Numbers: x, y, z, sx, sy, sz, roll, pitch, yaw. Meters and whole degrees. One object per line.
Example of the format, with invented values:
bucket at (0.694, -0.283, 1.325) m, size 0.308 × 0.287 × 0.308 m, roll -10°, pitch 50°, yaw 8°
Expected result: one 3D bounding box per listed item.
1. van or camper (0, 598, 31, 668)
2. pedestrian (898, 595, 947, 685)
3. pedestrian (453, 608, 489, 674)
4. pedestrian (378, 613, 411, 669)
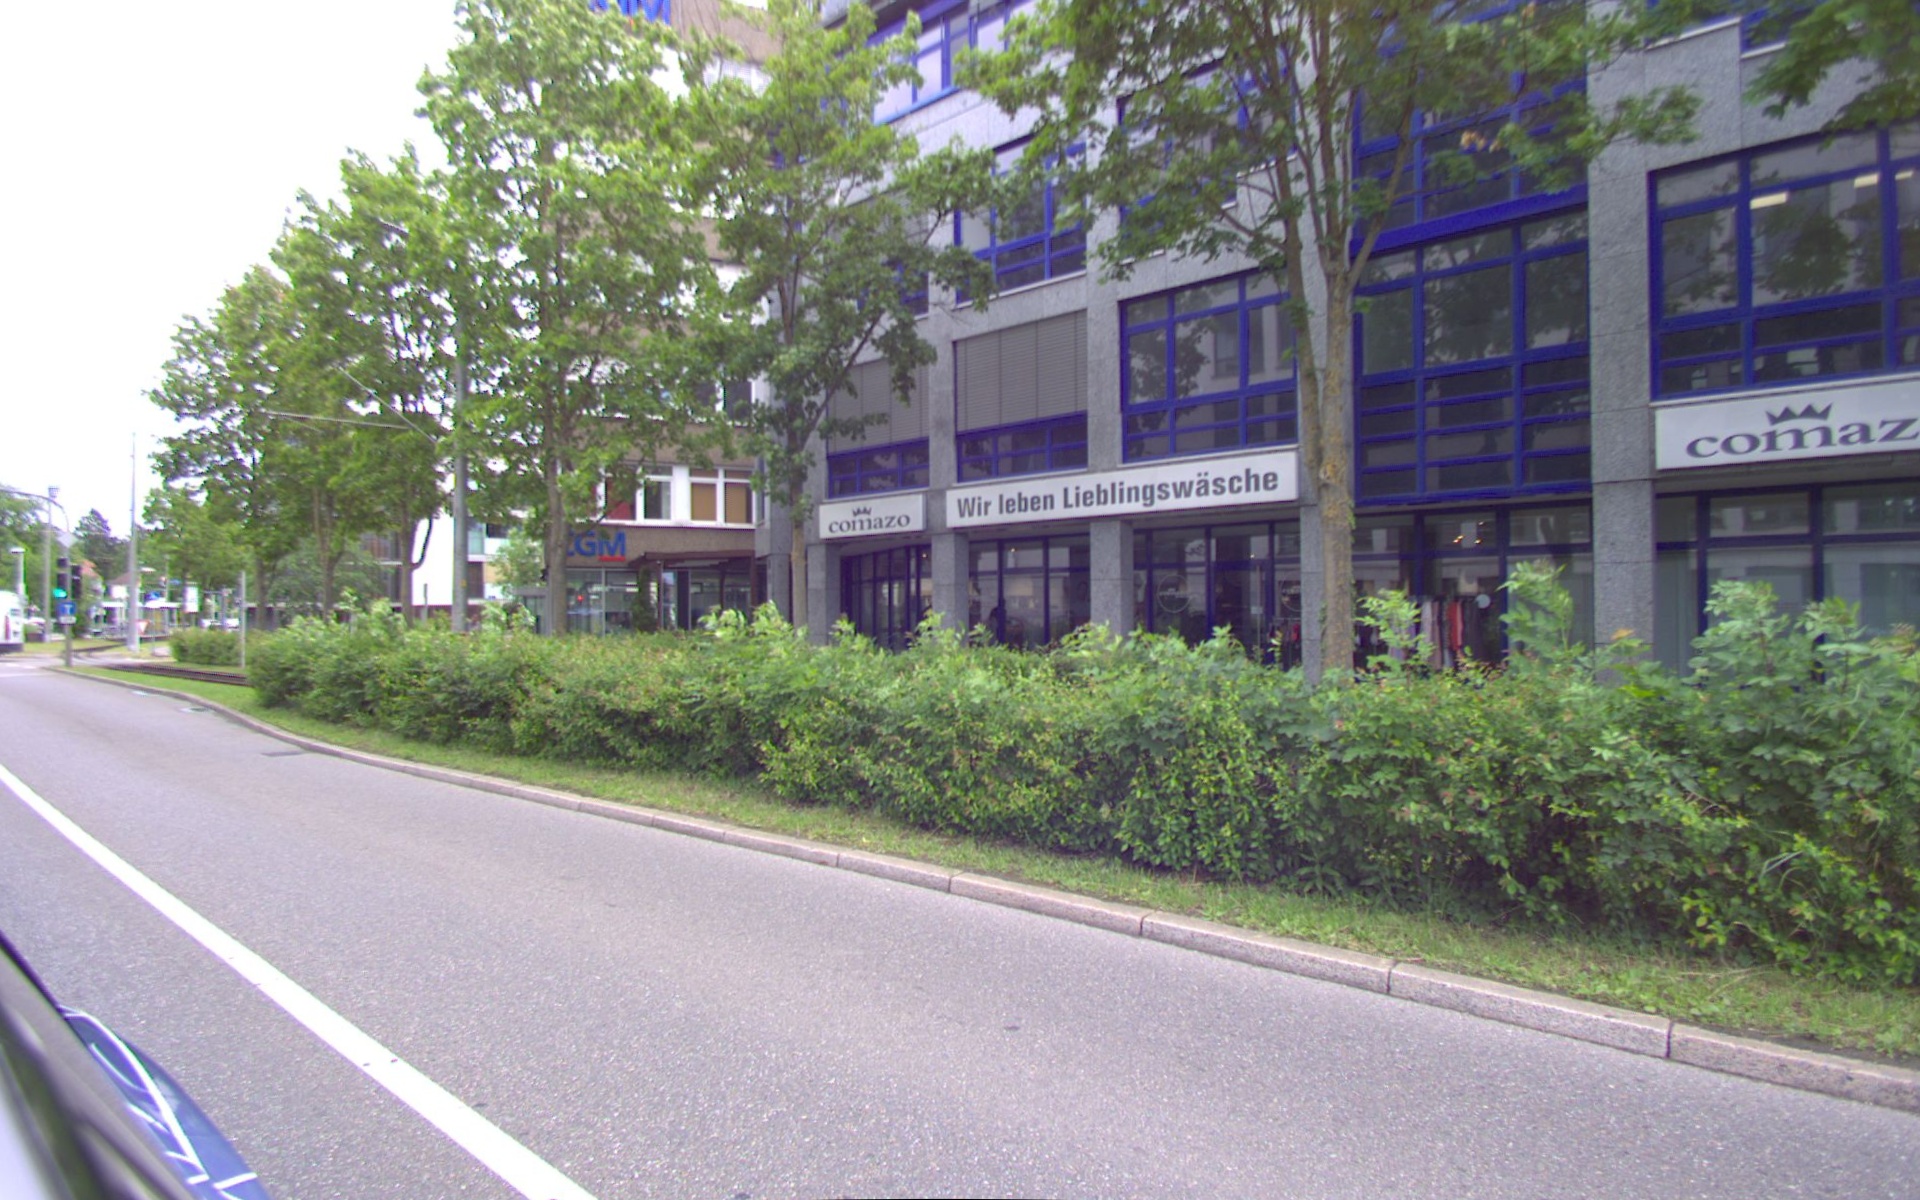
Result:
van or camper at (-40.737, 1.308, 39.626) m, size 6.045 × 2.754 × 2.121 m, roll 0°, pitch 0°, yaw -27°
pedestrian at (-0.804, 0.849, 21.872) m, size 0.731 × 1.908 × 0.766 m, roll -1°, pitch 0°, yaw 40°
pedestrian at (-13.852, 1.153, 28.664) m, size 0.730 × 1.819 × 0.672 m, roll -1°, pitch 0°, yaw 37°
pedestrian at (-19.916, 1.419, 35.653) m, size 0.731 × 1.938 × 0.805 m, roll -1°, pitch 0°, yaw 40°
